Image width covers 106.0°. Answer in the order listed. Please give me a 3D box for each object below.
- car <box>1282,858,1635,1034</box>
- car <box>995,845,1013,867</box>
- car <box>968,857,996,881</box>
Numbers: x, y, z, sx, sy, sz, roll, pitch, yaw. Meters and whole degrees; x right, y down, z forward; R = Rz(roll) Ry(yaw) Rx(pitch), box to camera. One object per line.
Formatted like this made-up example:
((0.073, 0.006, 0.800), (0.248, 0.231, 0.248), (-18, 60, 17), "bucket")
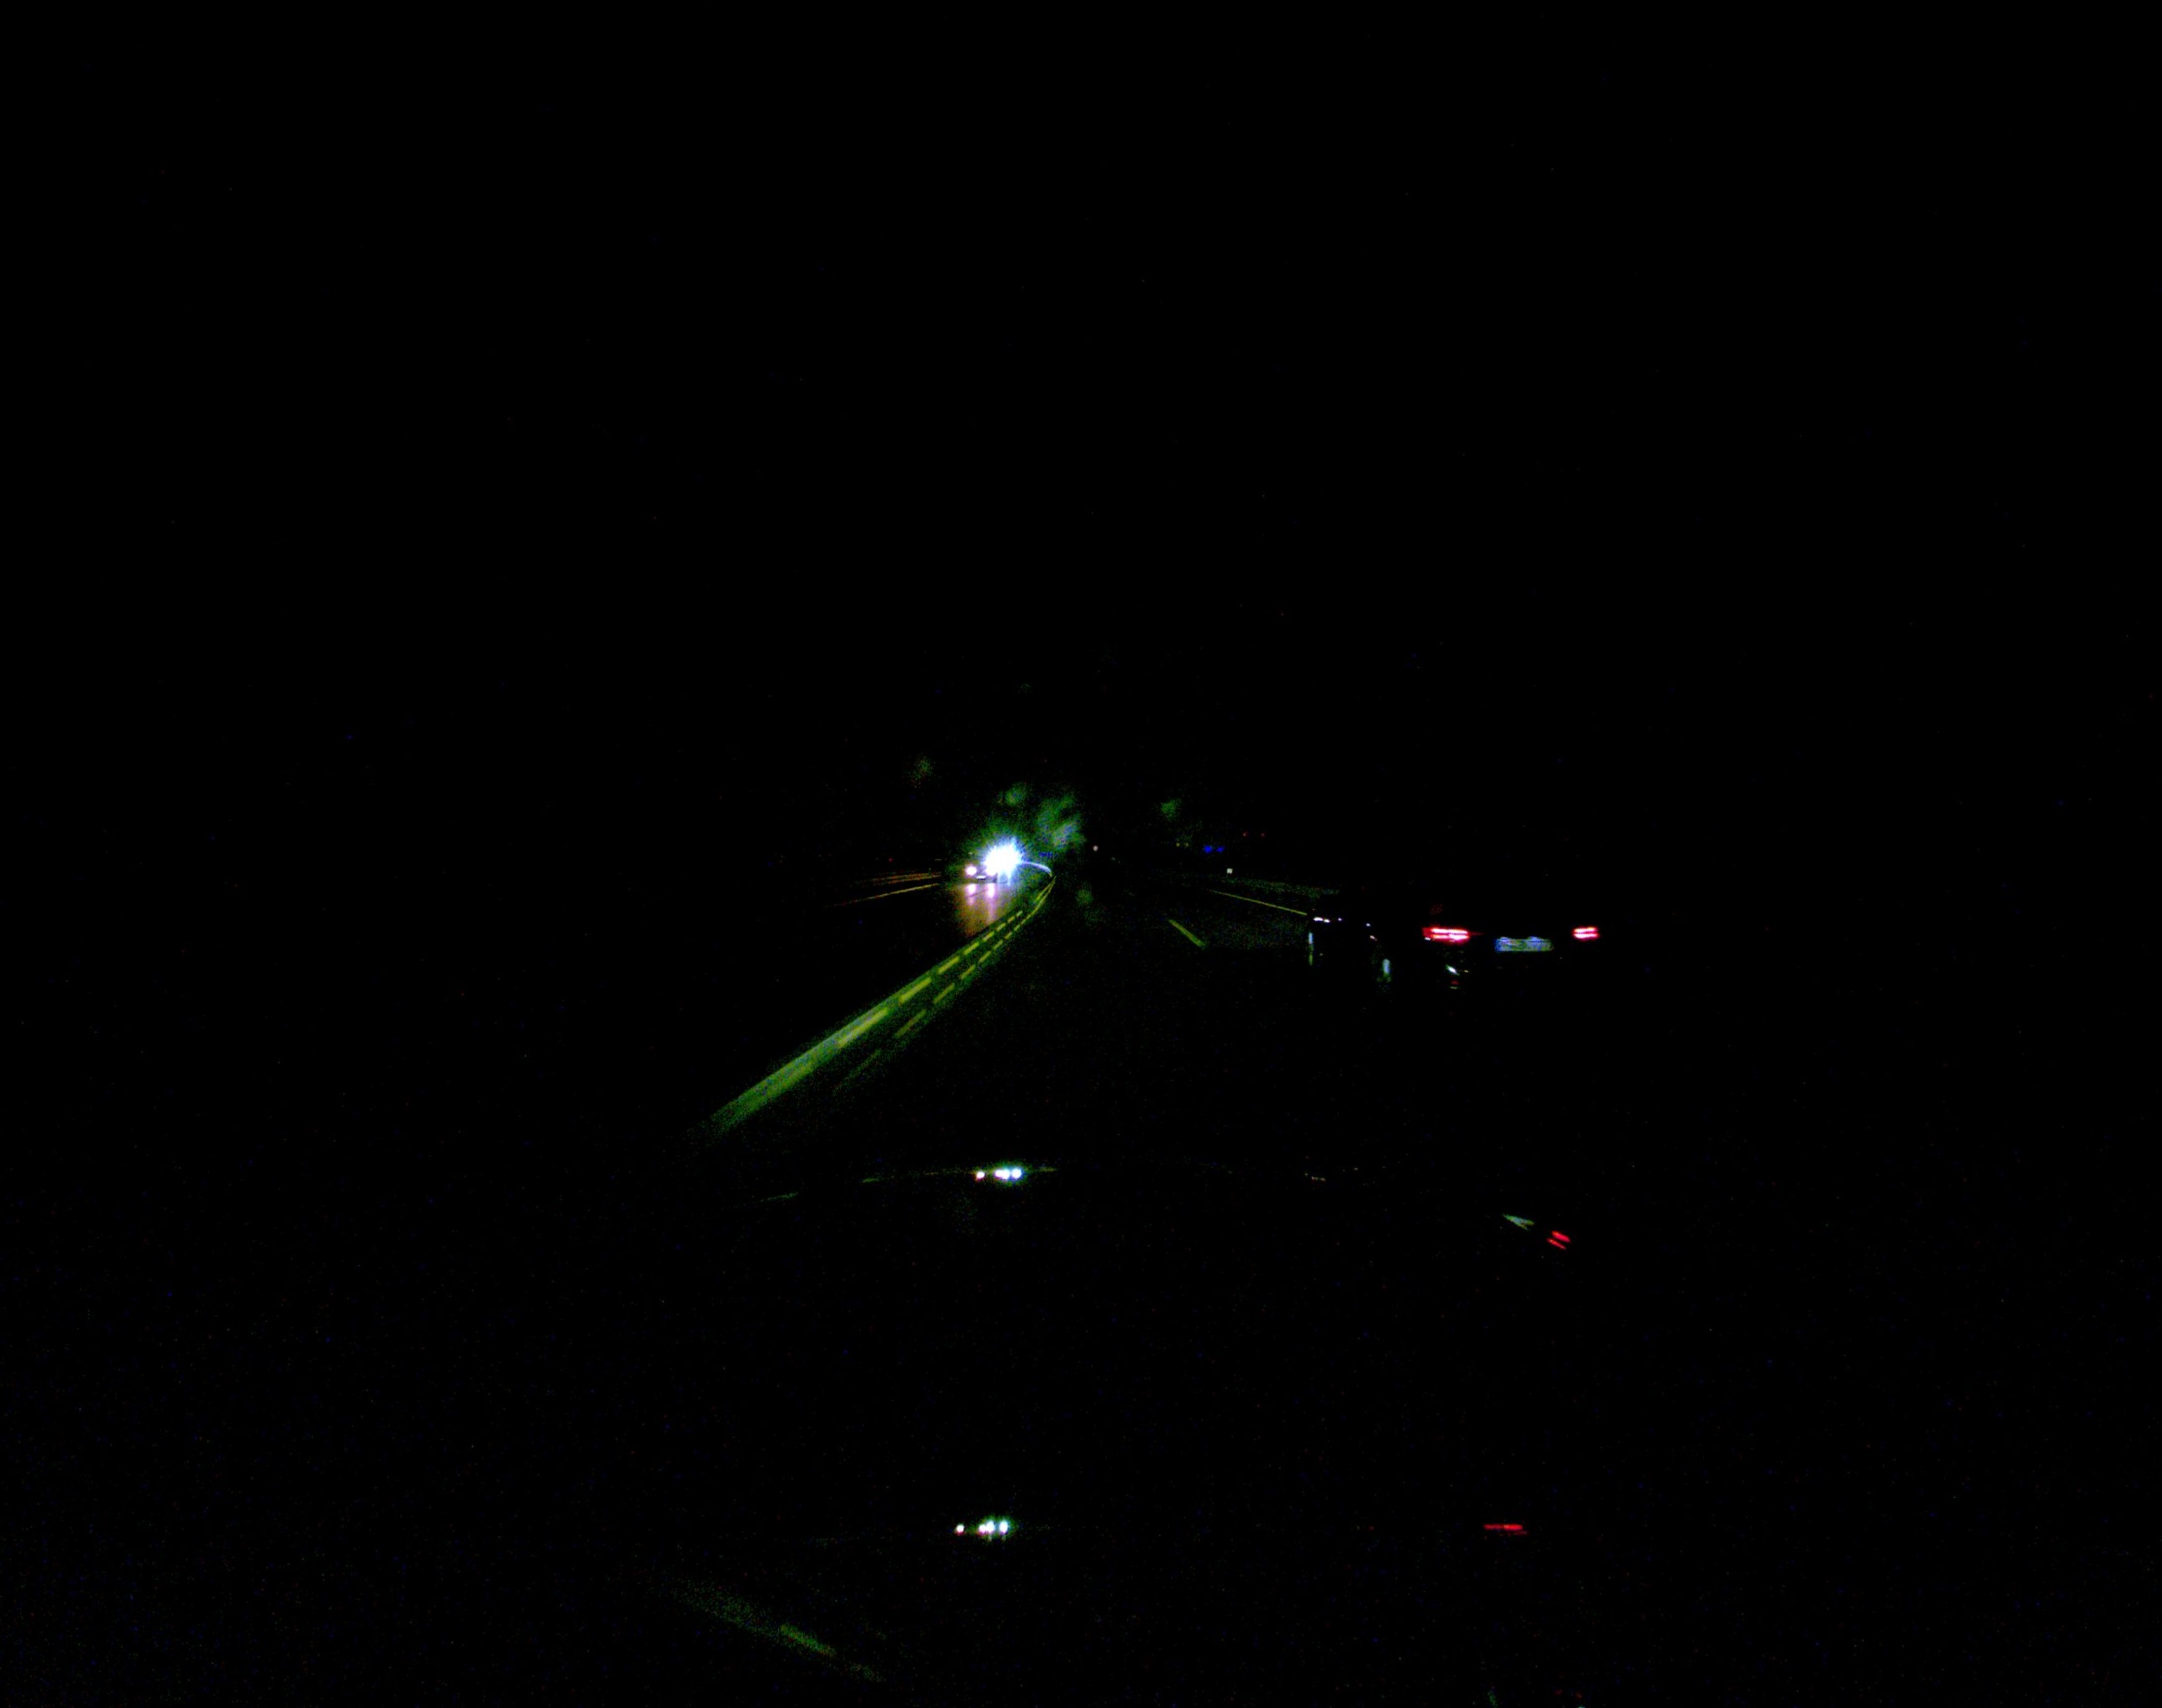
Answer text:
((3.755, 0.783, 9.244), (1.801, 1.426, 4.875), (-1, 0, 1), "car")
((-11.459, 0.343, 121.772), (2.481, 3.105, 7.373), (-1, -1, -4), "car")
((-6.456, 0.957, 53.363), (1.682, 1.459, 4.192), (-1, 0, -5), "car")
